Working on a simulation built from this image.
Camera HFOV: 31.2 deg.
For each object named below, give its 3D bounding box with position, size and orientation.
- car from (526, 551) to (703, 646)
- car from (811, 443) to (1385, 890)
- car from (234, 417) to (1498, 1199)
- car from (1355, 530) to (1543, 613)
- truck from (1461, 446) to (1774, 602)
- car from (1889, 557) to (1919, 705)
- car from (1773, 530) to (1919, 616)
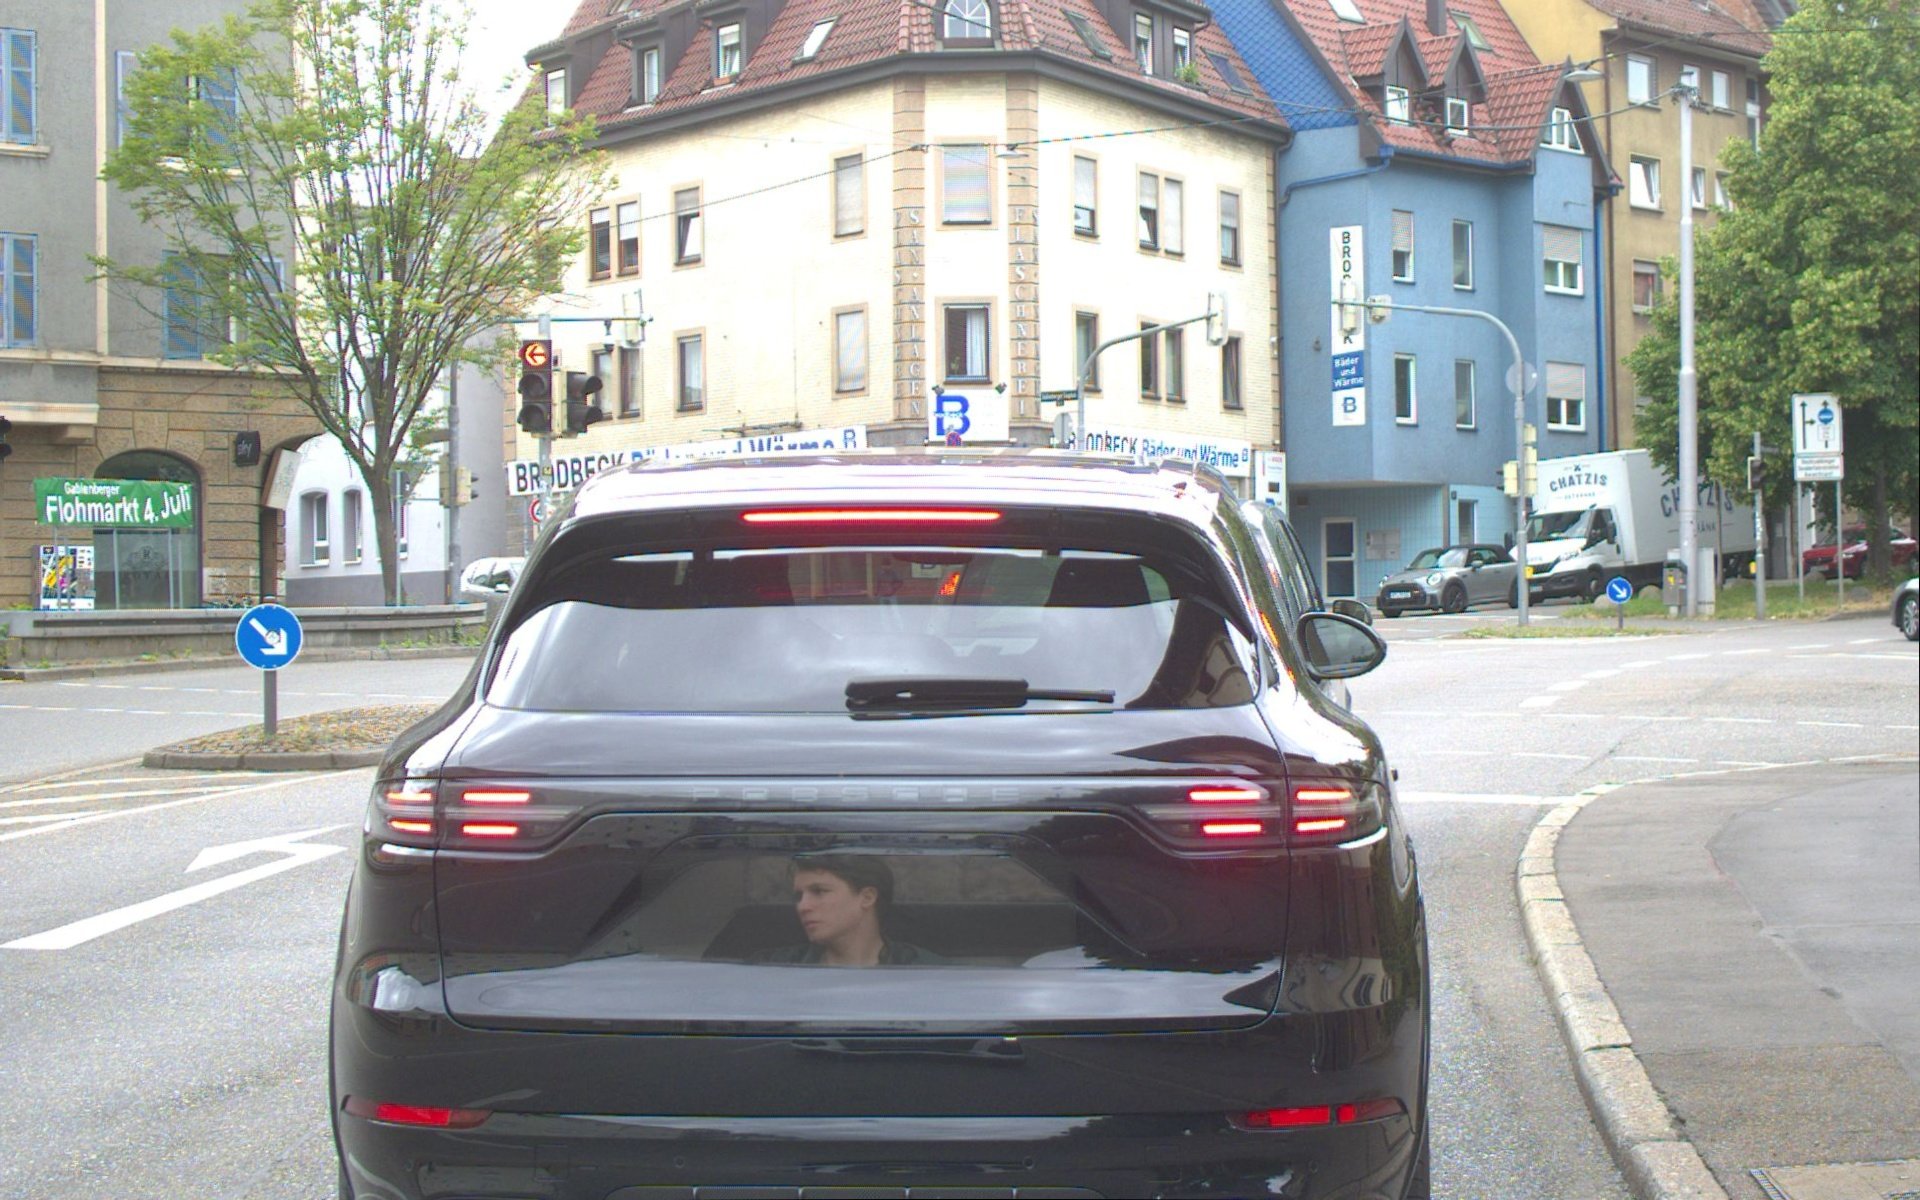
[{"bbox_3d":[-6.005,-0.032,60.204,1.890,1.574,3.967,-1,0,13],"label":"car"},{"bbox_3d":[0.753,0.224,15.068,1.994,1.678,3.998,0,1,10],"label":"car"},{"bbox_3d":[-0.254,0.498,7.397,1.978,1.678,4.001,0,2,-3],"label":"car"},{"bbox_3d":[10.241,-0.613,71.798,1.998,1.678,3.990,1,1,42],"label":"car"},{"bbox_3d":[15.112,-1.682,78.463,2.880,3.328,8.772,2,1,41],"label":"truck"},{"bbox_3d":[14.775,0.463,46.259,1.994,2.007,4.000,1,0,-35],"label":"car"},{"bbox_3d":[22.315,-0.664,86.156,1.999,2.007,3.990,2,1,43],"label":"car"}]
